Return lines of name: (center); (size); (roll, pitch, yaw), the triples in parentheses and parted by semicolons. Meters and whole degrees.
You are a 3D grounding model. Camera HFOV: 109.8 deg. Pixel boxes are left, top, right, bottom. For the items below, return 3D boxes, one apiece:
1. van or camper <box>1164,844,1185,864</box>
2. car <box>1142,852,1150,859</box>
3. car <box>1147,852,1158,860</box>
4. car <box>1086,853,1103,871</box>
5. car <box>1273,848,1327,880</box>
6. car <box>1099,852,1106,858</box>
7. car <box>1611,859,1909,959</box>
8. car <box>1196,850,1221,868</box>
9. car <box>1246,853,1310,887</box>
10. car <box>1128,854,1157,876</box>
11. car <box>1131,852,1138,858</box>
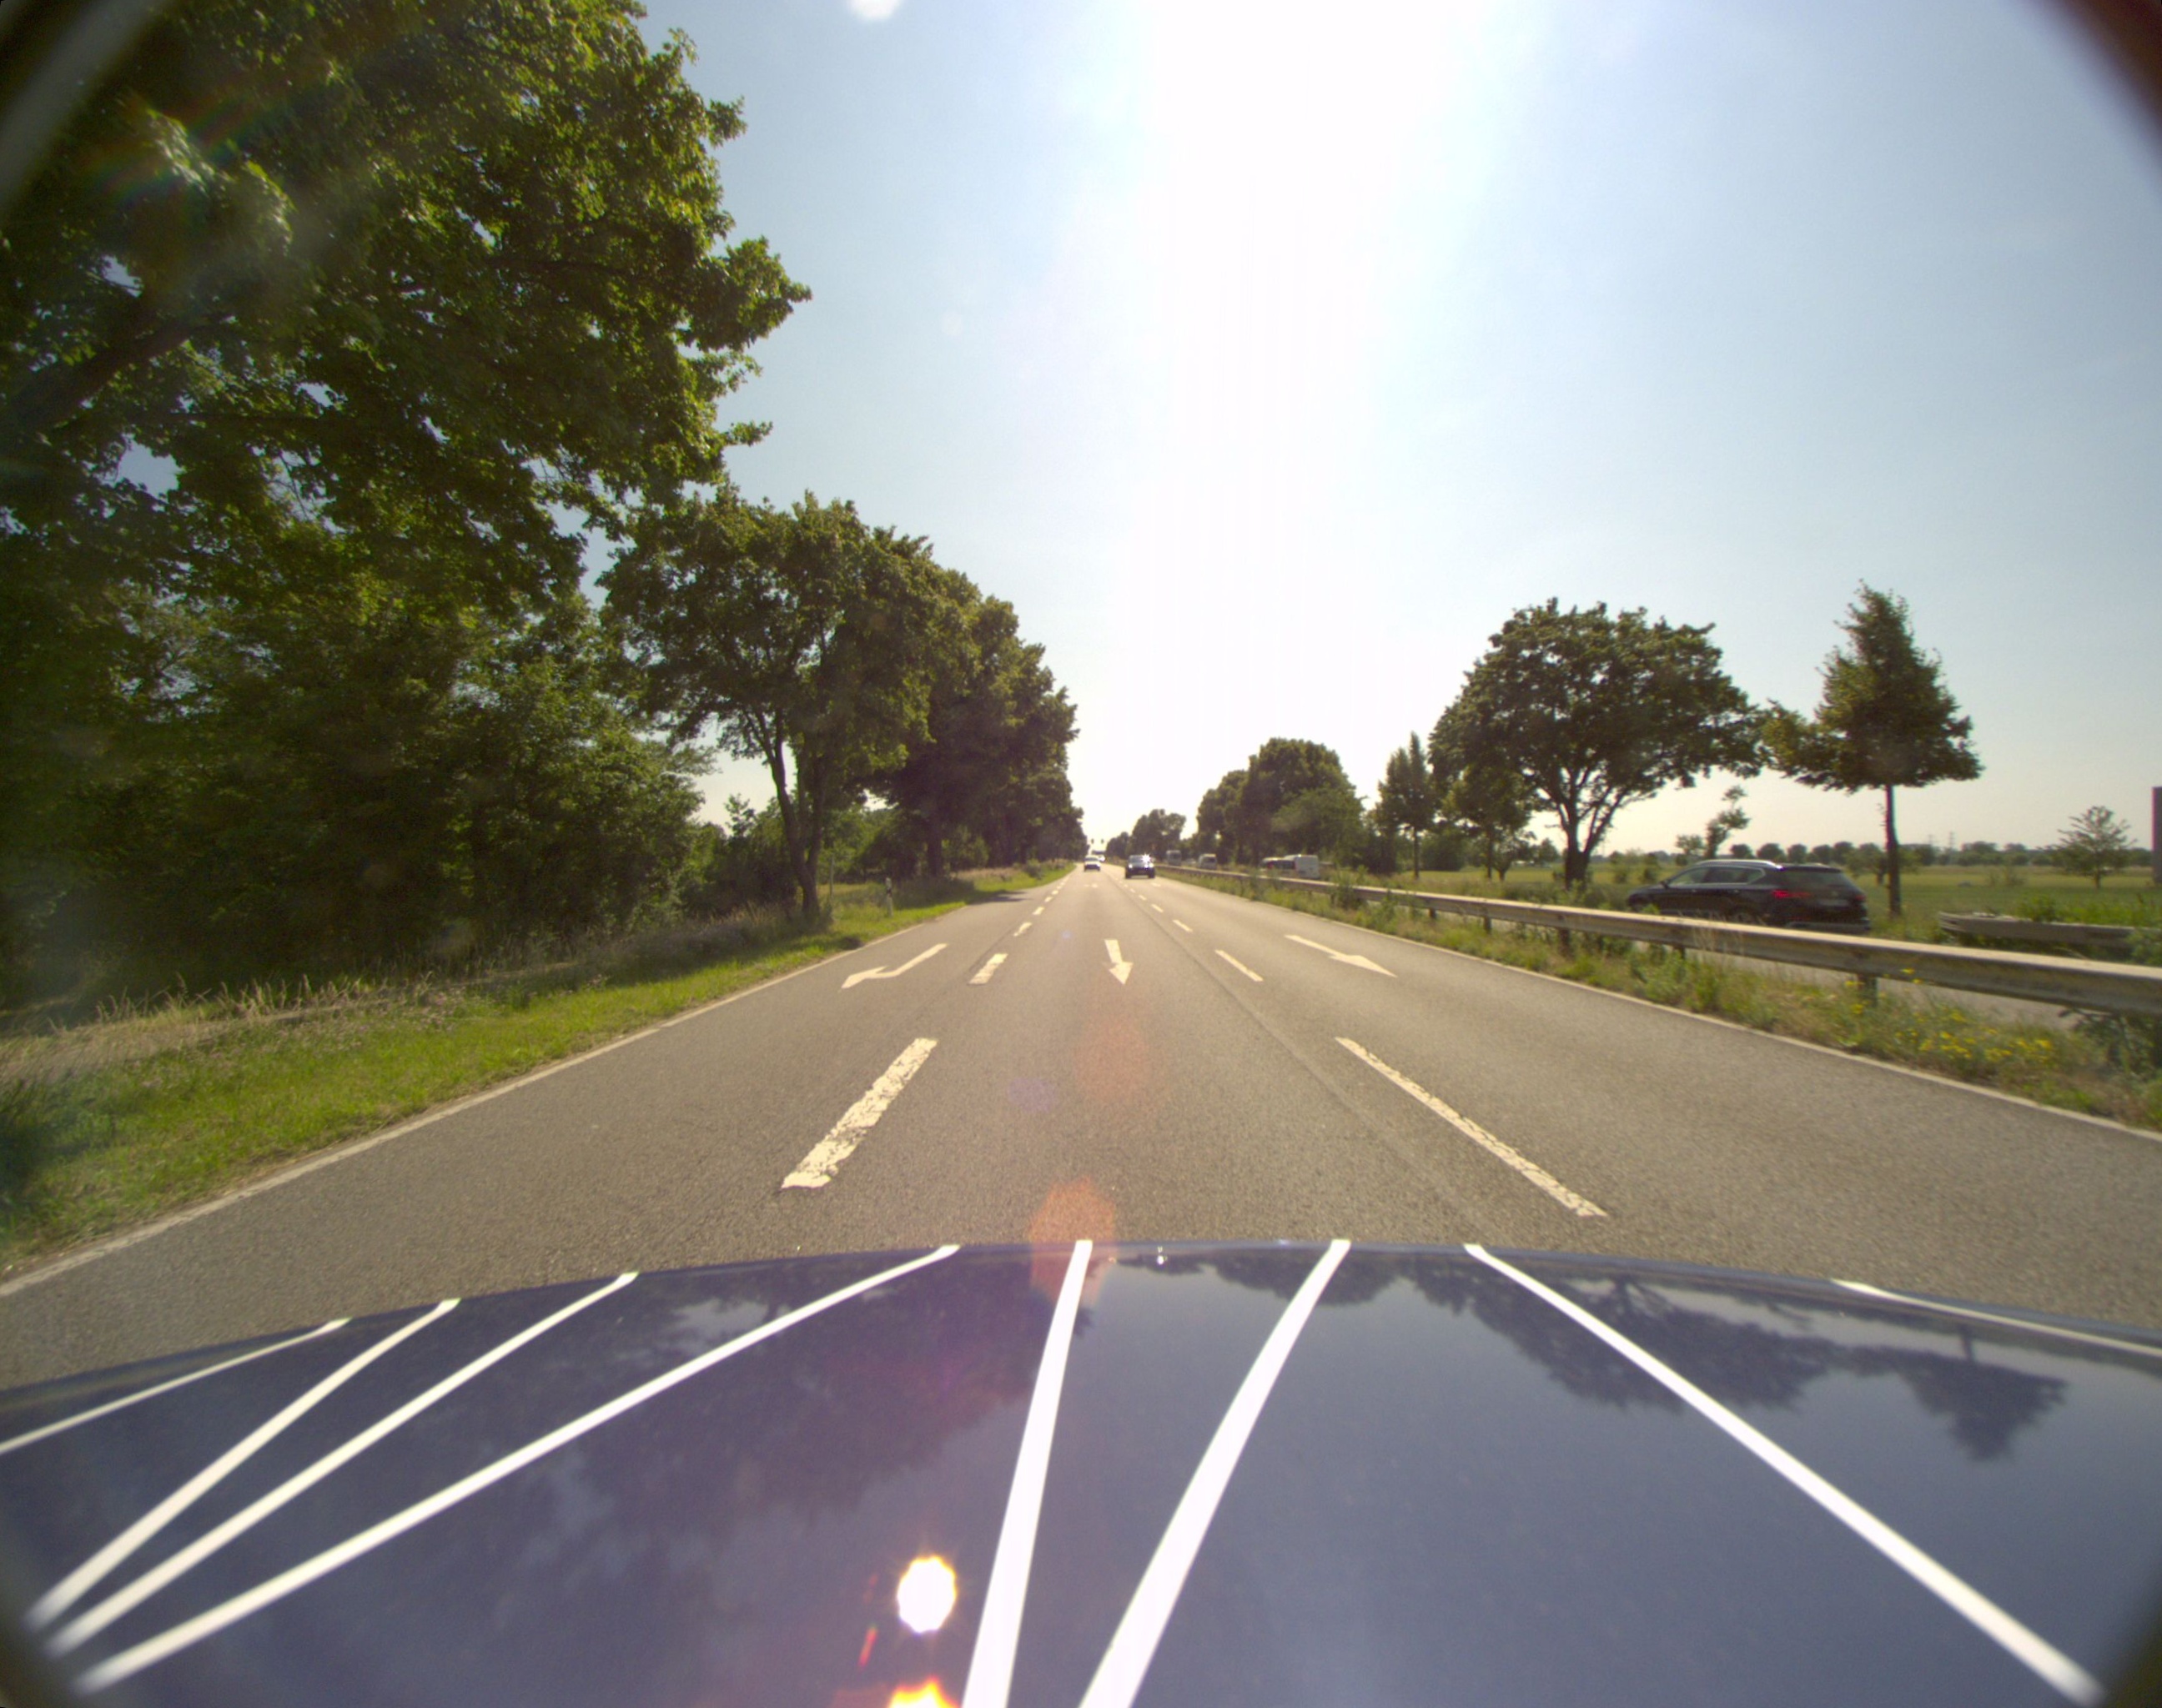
van or camper: (14.617, -0.025, 119.197); (2.391, 2.931, 7.091); (0, 0, 1)
car: (16.282, 0.318, 189.679); (1.765, 1.581, 3.894); (0, 0, 0)
car: (15.279, 0.415, 162.604); (1.960, 1.581, 4.865); (0, 0, 0)
car: (1.468, 0.826, 82.870); (1.777, 1.863, 4.581); (0, 0, 0)
car: (13.740, 0.594, 48.029); (1.998, 1.949, 4.927); (0, 0, 0)
car: (6.154, 0.314, 220.860); (1.886, 1.775, 4.000); (0, 0, 0)
car: (13.218, 0.955, 15.280); (1.998, 1.653, 4.480); (-1, 0, 0)
car: (13.946, 0.527, 83.452); (2.043, 2.002, 4.532); (0, 0, 0)
car: (9.747, 0.753, 37.939); (1.998, 1.548, 4.480); (0, 0, 0)
car: (4.350, 0.747, 53.973); (1.860, 1.507, 4.100); (-1, 0, 2)
car: (15.184, 0.185, 214.735); (1.765, 1.581, 3.894); (0, 0, 0)
